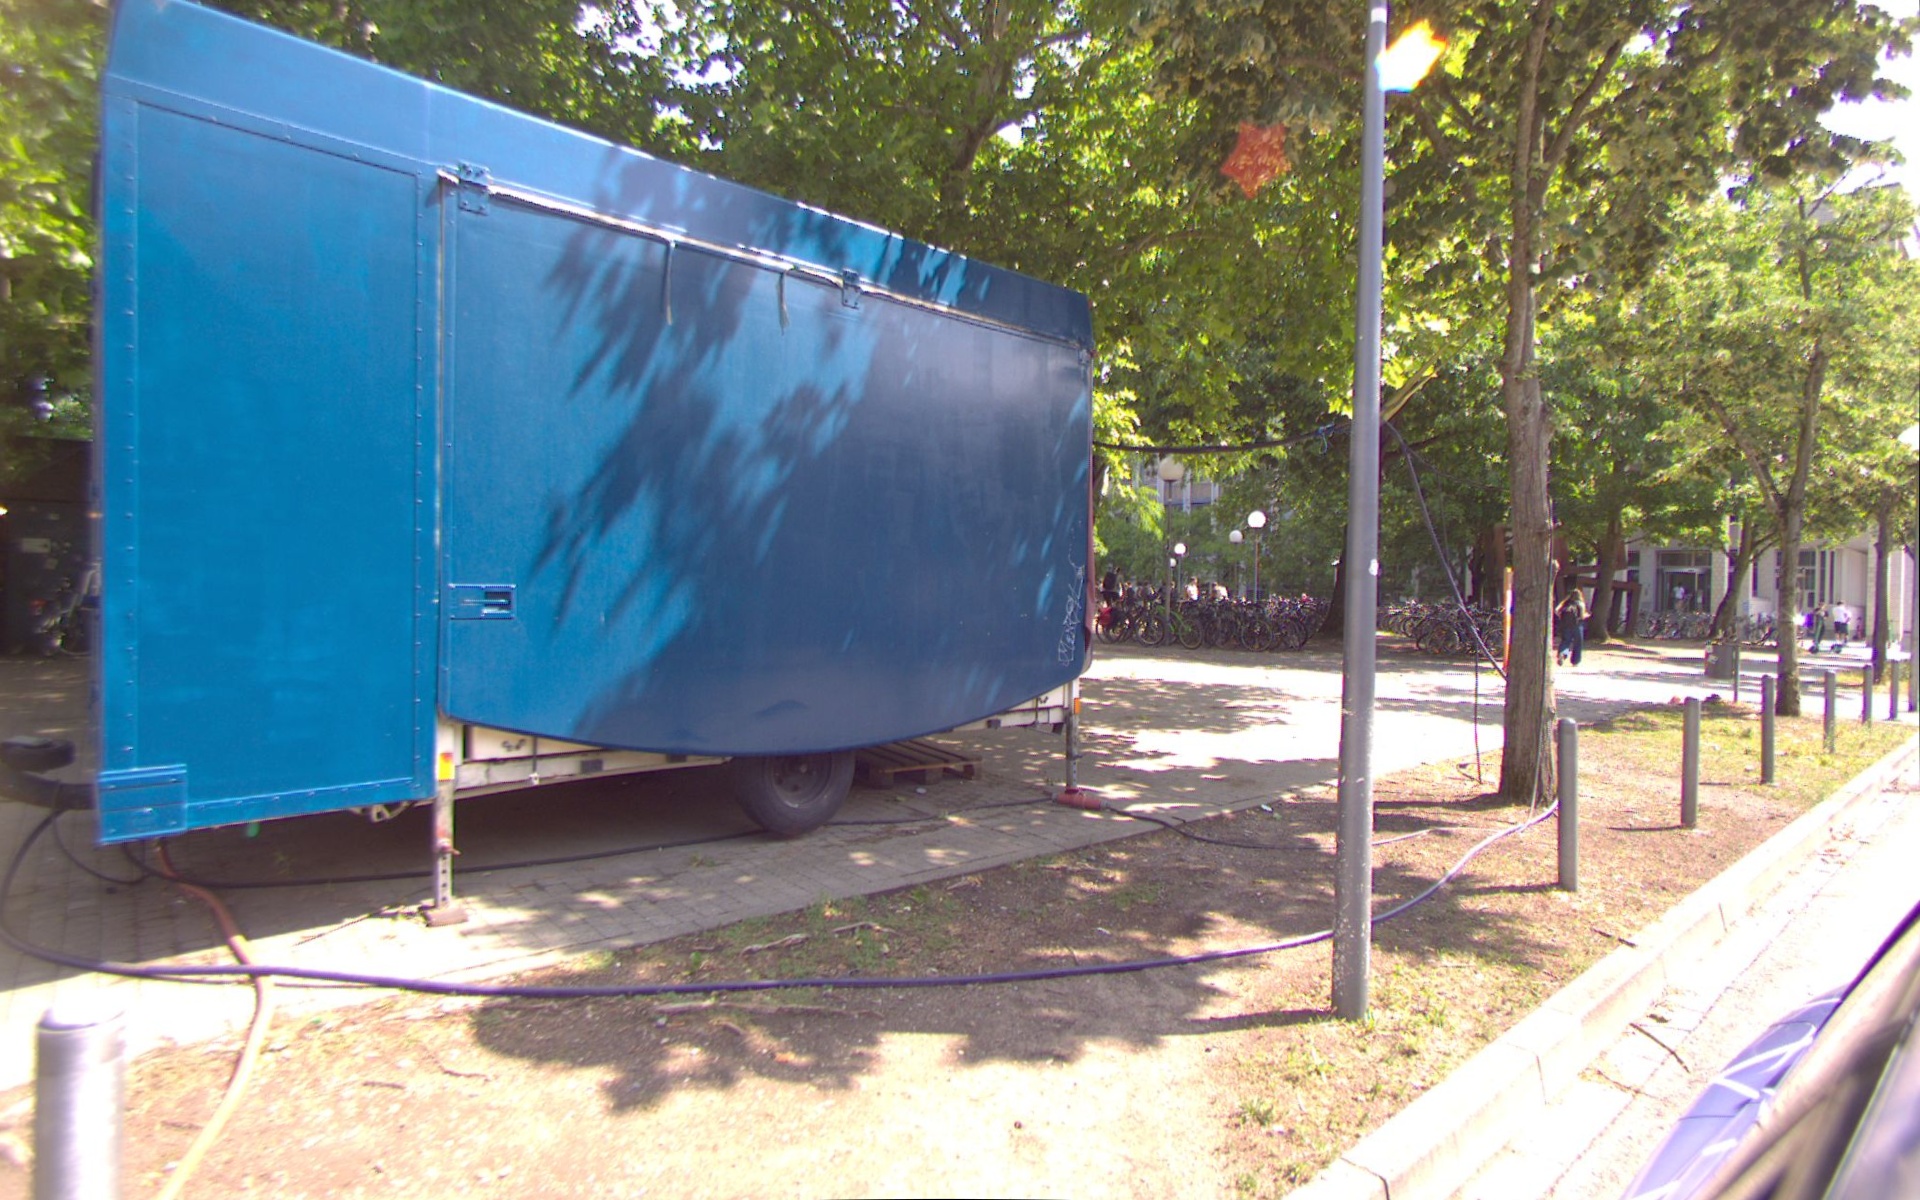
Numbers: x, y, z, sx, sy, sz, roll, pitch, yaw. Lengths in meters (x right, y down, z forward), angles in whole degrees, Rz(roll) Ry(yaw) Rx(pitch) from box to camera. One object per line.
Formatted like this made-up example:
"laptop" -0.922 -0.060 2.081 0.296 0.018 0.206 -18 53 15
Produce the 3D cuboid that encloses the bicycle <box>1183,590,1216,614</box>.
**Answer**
"bicycle" 11.226 0.110 47.501 1.444 1.098 0.352 1 -2 0

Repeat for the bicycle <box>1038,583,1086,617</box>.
"bicycle" 3.553 -0.009 35.361 1.591 1.107 0.346 3 1 20

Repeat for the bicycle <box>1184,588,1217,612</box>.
"bicycle" 10.979 0.007 46.144 1.442 1.098 0.353 1 -2 -7

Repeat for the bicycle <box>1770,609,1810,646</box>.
"bicycle" 27.119 0.879 33.094 0.622 1.097 1.674 0 2 25

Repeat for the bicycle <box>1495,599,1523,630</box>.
"bicycle" 21.170 0.536 39.042 0.468 1.123 1.665 1 2 12

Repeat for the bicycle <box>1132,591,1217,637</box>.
"bicycle" 5.085 0.322 24.025 1.881 0.991 0.418 3 1 21

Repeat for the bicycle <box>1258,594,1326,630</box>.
"bicycle" 10.189 0.363 31.074 1.872 0.991 0.478 3 1 8

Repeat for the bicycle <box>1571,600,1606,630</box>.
"bicycle" 25.360 0.611 40.820 1.792 1.091 0.464 3 1 -34

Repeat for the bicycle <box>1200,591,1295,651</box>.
"bicycle" 6.022 0.416 21.239 1.792 1.132 0.607 3 2 28

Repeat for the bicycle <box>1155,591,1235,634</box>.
"bicycle" 5.936 0.300 25.601 1.886 0.991 0.417 3 2 28

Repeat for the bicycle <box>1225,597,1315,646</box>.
"bicycle" 7.130 0.476 23.320 1.886 0.991 0.607 3 2 28

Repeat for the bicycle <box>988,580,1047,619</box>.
"bicycle" 1.755 -0.017 31.137 1.734 1.107 0.475 3 1 23

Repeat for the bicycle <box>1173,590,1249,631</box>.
"bicycle" 6.790 0.272 27.433 1.886 0.991 0.607 3 2 28

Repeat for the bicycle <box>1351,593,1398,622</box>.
"bicycle" 17.967 0.336 43.891 1.815 1.185 0.412 2 0 10

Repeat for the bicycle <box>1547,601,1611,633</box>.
"bicycle" 23.164 0.622 37.889 1.895 1.123 0.630 2 1 13

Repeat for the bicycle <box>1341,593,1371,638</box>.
"bicycle" 10.342 0.385 26.403 0.474 1.096 1.885 3 2 28

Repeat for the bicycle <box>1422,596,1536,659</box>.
"bicycle" 10.843 0.552 21.182 2.010 1.181 0.643 3 1 38

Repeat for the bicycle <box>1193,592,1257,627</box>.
"bicycle" 8.243 0.300 31.530 1.873 0.991 0.477 3 1 10

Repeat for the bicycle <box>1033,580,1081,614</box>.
"bicycle" 3.437 -0.124 35.782 1.591 1.107 0.475 3 1 20

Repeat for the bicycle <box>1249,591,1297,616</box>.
"bicycle" 13.390 0.157 43.333 1.868 0.991 0.479 2 1 0

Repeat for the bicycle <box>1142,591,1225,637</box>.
"bicycle" 5.424 0.323 24.579 1.884 0.991 0.474 3 2 25

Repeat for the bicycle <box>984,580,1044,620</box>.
"bicycle" 1.628 -0.012 30.814 1.734 1.107 0.475 3 1 23

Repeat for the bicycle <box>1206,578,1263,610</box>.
"bicycle" 9.492 -0.213 35.007 1.880 0.991 0.376 3 1 19

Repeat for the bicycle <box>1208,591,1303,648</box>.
"bicycle" 6.499 0.409 22.294 1.886 1.132 0.607 3 2 28

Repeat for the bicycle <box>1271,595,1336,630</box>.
"bicycle" 10.814 0.397 31.873 1.880 0.991 0.476 3 1 19

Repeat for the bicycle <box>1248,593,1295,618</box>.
"bicycle" 13.647 0.239 44.425 1.870 0.991 0.478 2 1 5

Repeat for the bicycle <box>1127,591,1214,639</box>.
"bicycle" 4.861 0.332 23.409 1.888 0.991 0.473 3 2 30

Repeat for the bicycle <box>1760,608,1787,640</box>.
"bicycle" 30.778 0.906 38.267 1.465 1.155 0.560 0 3 -44

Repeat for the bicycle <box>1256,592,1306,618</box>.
"bicycle" 13.341 0.211 42.101 1.874 0.991 0.477 3 1 11

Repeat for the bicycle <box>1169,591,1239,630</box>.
"bicycle" 6.869 0.287 28.496 1.877 0.991 0.534 3 1 15

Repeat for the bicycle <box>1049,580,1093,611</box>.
"bicycle" 4.262 -0.196 38.845 1.591 1.107 0.475 3 1 20

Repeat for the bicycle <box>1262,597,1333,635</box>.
"bicycle" 9.857 0.461 29.567 1.868 0.991 0.478 2 1 1

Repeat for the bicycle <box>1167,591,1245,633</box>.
"bicycle" 6.342 0.297 26.151 1.885 0.991 0.474 3 2 26

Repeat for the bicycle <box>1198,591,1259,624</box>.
"bicycle" 8.957 0.248 33.802 1.873 0.991 0.477 3 1 11

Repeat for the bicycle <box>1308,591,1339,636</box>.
"bicycle" 9.586 0.334 26.669 0.474 1.096 1.885 3 2 28

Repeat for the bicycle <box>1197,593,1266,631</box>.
"bicycle" 7.878 0.343 29.426 1.880 0.991 0.476 3 1 19

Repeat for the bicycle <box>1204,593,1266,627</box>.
"bicycle" 8.860 0.316 32.639 1.873 0.991 0.377 3 1 10

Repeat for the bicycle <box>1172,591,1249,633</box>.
"bicycle" 6.540 0.293 26.468 1.885 0.991 0.474 3 2 26

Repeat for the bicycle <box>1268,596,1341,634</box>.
"bicycle" 9.851 0.434 28.990 1.868 0.991 0.478 2 1 1

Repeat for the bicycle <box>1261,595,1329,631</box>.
"bicycle" 10.138 0.379 30.676 1.872 0.991 0.478 3 1 8

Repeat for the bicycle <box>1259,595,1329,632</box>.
"bicycle" 9.954 0.404 30.172 1.872 0.991 0.477 3 1 9

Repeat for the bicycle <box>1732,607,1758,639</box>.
"bicycle" 30.365 0.897 39.142 1.465 1.155 0.560 3 1 -44
